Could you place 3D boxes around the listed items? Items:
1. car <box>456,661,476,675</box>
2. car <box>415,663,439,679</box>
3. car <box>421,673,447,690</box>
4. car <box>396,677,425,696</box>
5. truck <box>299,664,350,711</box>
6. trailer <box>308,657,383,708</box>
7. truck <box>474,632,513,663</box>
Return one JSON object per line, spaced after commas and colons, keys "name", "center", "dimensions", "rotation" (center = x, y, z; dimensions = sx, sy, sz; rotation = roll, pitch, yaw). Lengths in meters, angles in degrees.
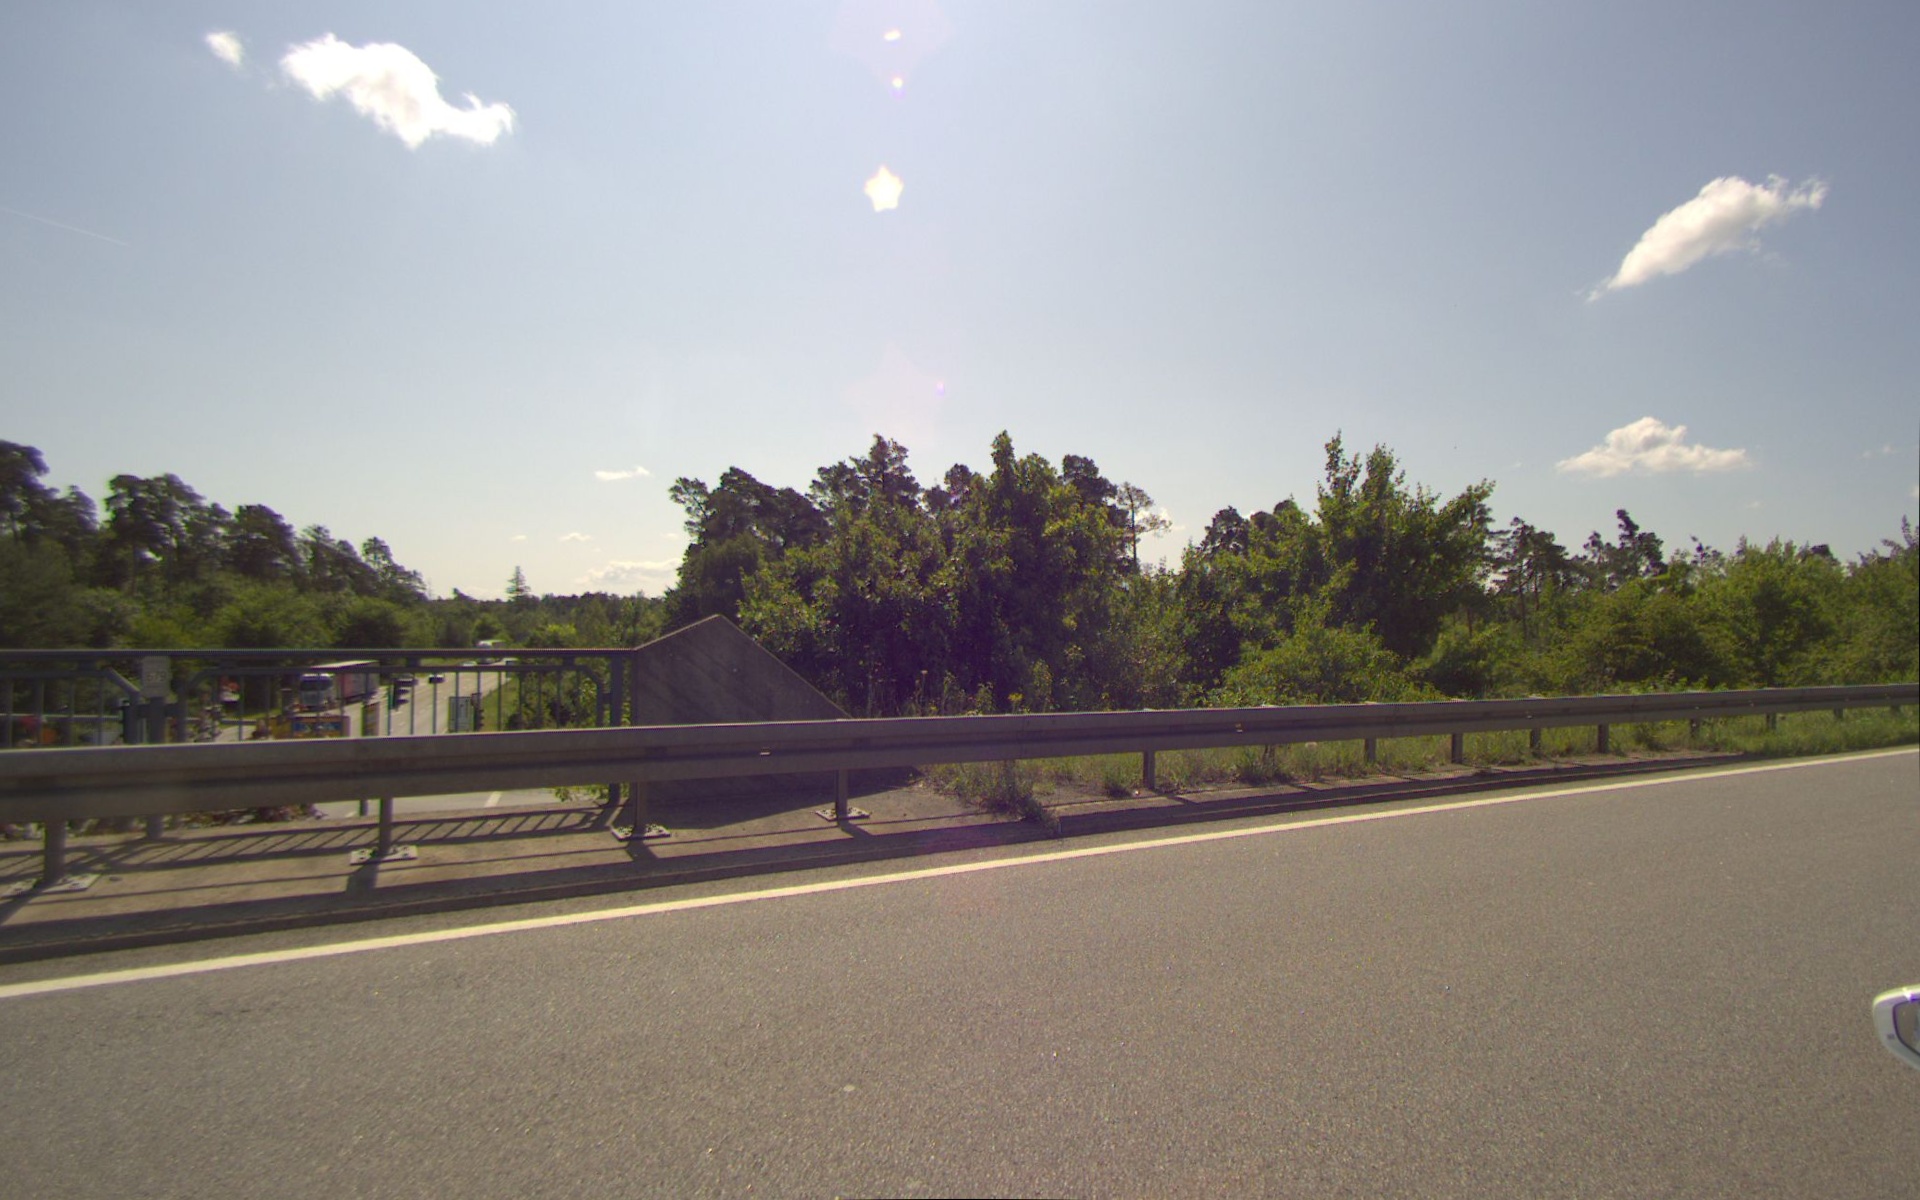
{"name": "car", "center": [-82.223, 11.268, 167.147], "dimensions": [2.108, 1.913, 4.802], "rotation": [3, 0, -16]}
{"name": "car", "center": [-79.310, 10.605, 149.418], "dimensions": [2.108, 1.913, 4.802], "rotation": [3, 0, -16]}
{"name": "car", "center": [-71.140, 11.004, 135.858], "dimensions": [2.108, 1.913, 4.802], "rotation": [3, 0, -16]}
{"name": "car", "center": [-70.012, 11.021, 127.975], "dimensions": [2.108, 1.913, 4.802], "rotation": [3, 0, -16]}
{"name": "truck", "center": [-61.463, 8.404, 97.230], "dimensions": [2.572, 4.056, 5.322], "rotation": [3, 0, -16]}
{"name": "trailer", "center": [-63.338, 8.372, 104.011], "dimensions": [2.572, 4.056, 14.341], "rotation": [3, 0, -15]}
{"name": "truck", "center": [-89.620, 8.982, 193.193], "dimensions": [3.562, 4.972, 14.609], "rotation": [3, 0, -13]}
